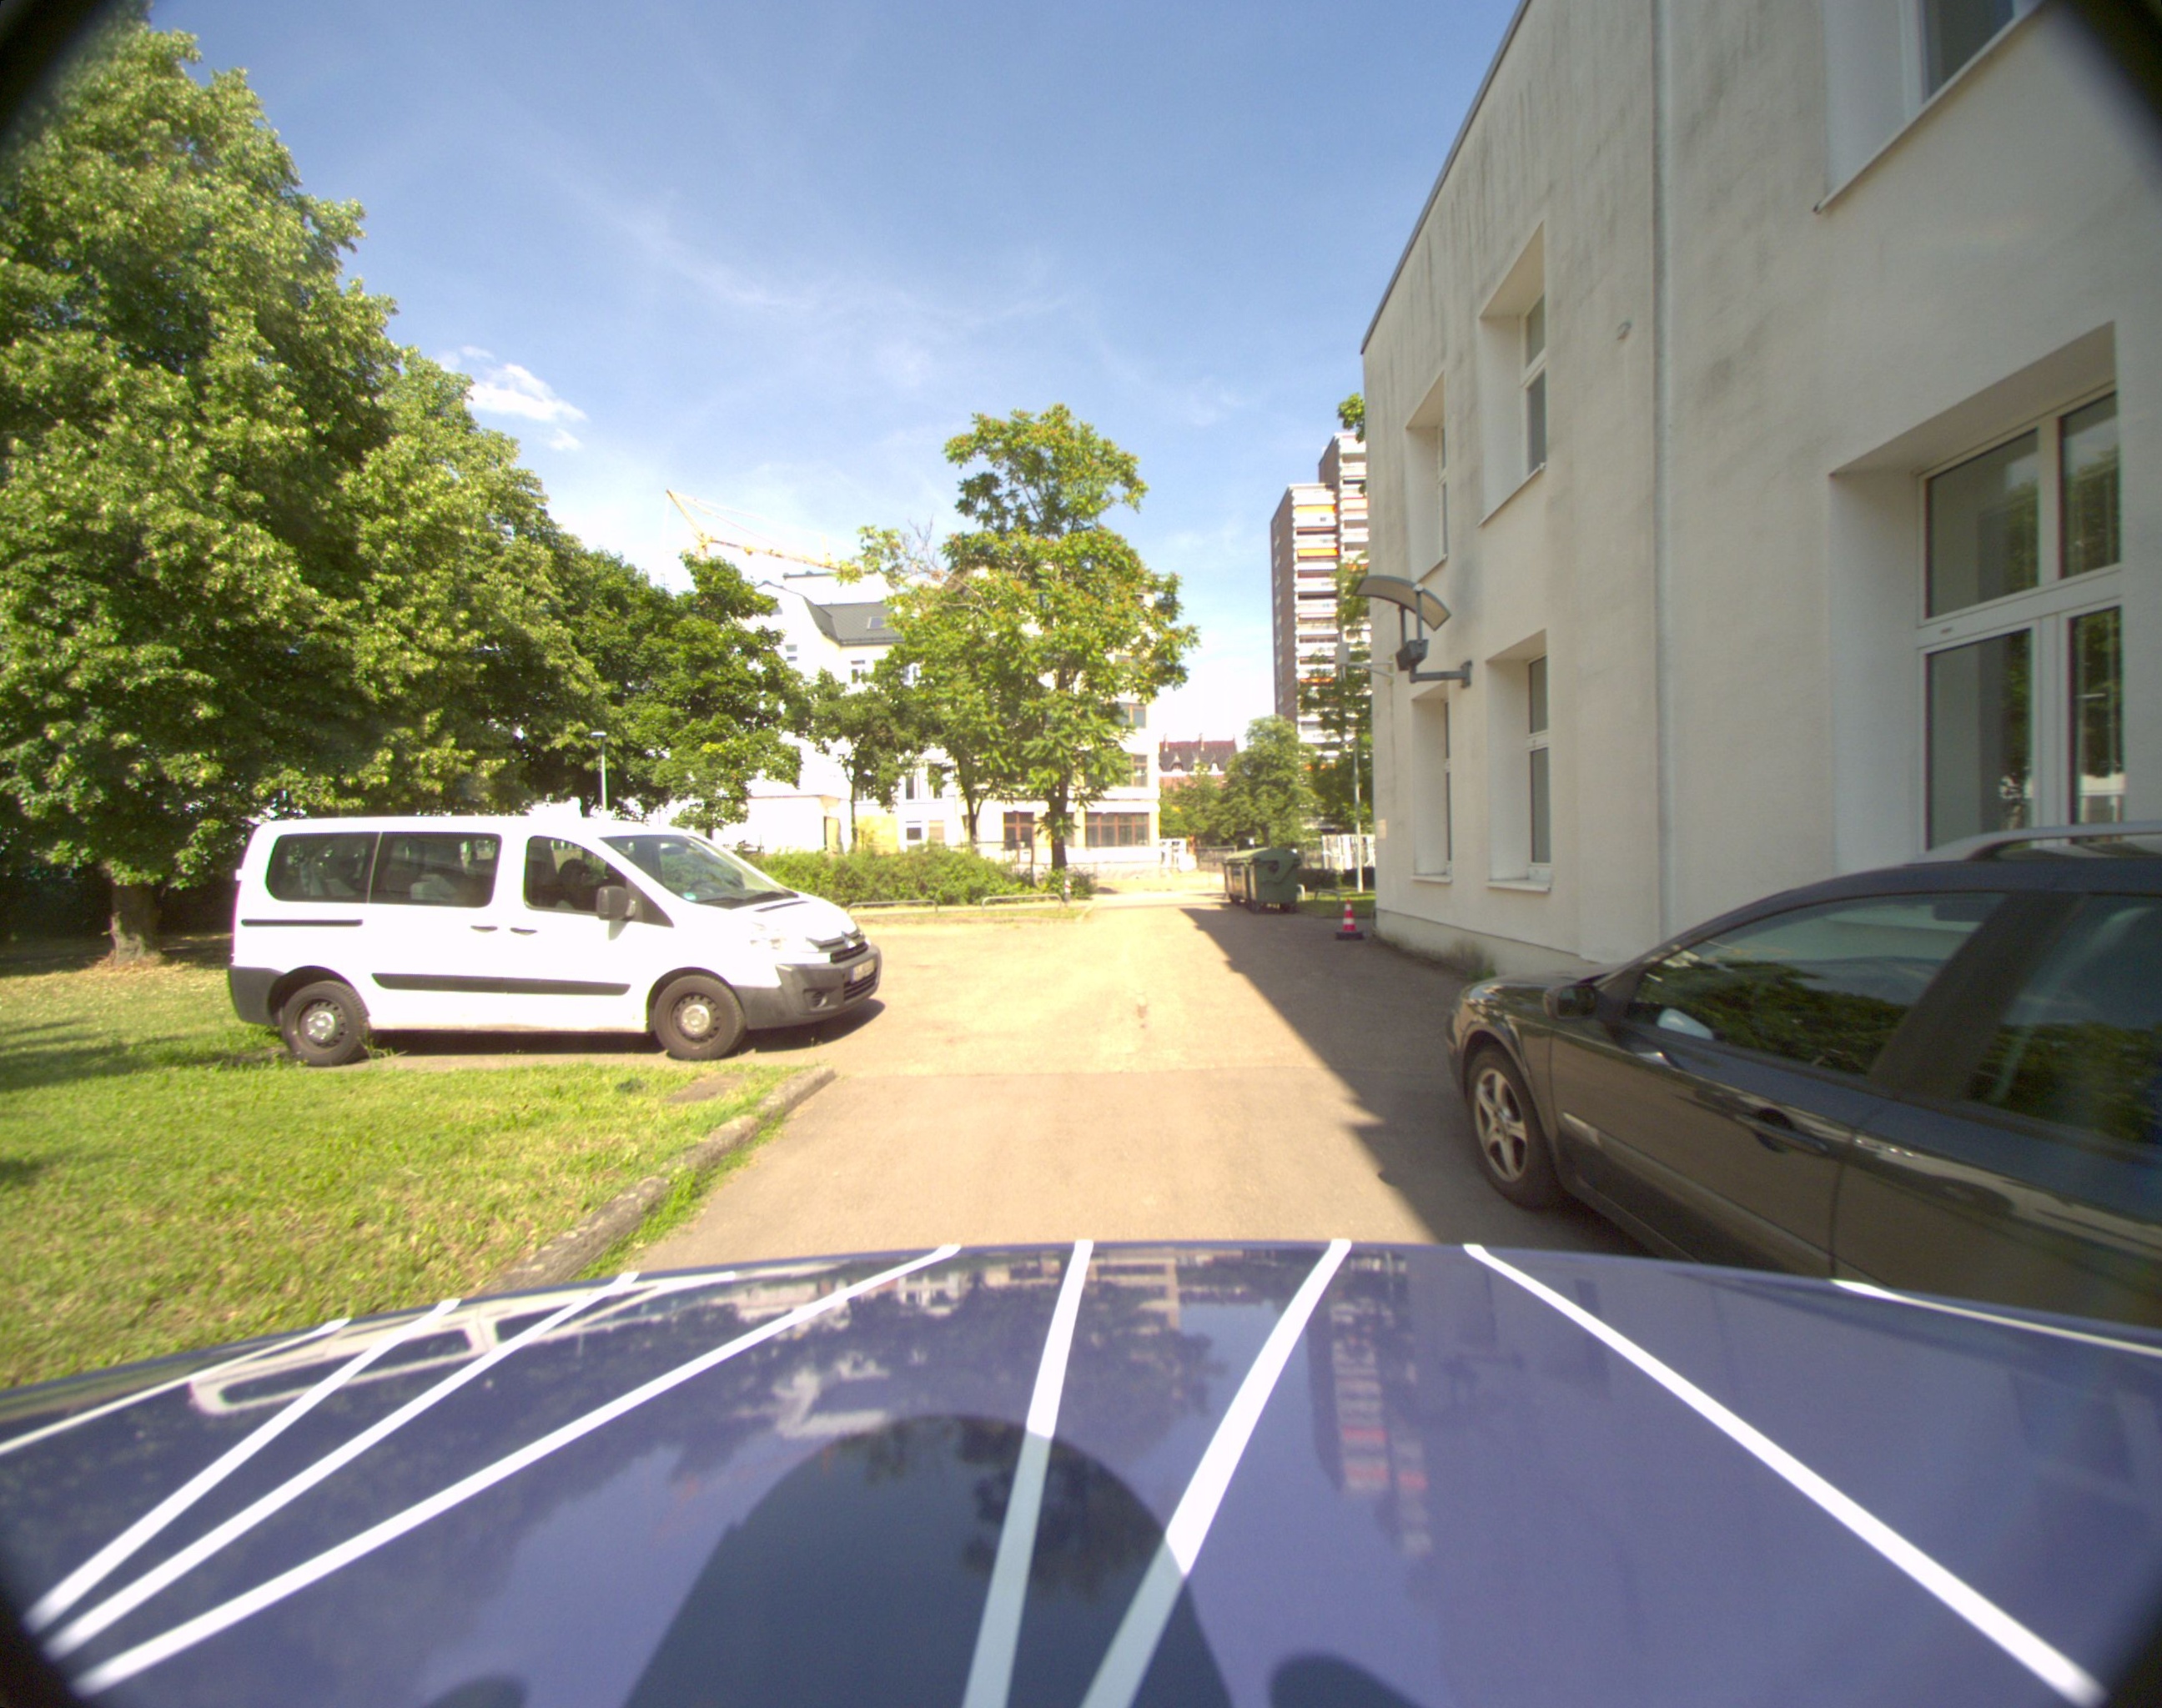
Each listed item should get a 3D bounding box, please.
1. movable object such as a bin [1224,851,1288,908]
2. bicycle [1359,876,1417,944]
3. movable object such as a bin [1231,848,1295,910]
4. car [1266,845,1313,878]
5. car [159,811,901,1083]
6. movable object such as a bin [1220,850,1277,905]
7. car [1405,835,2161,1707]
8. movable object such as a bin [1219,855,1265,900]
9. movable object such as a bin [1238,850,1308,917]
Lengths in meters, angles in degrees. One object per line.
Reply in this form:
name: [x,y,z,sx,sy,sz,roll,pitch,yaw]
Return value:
movable object such as a bin: [4.531,0.641,19.784,1.248,1.423,1.222,-1,1,-7]
bicycle: [4.892,0.859,12.177,0.445,0.986,1.542,0,0,6]
movable object such as a bin: [4.377,0.589,18.402,1.247,1.423,1.366,-1,0,3]
car: [12.388,0.433,44.982,1.917,1.770,4.320,-3,0,26]
car: [-4.362,0.717,6.552,5.034,1.922,2.001,-1,0,5]
movable object such as a bin: [4.644,0.637,21.188,1.247,1.473,1.338,-1,0,-2]
car: [2.421,0.757,1.454,1.841,1.434,4.429,-4,2,3]
movable object such as a bin: [5.261,0.743,24.763,1.245,1.388,1.406,-1,0,21]
movable object such as a bin: [4.241,0.632,16.896,1.247,1.423,1.350,-1,0,3]
